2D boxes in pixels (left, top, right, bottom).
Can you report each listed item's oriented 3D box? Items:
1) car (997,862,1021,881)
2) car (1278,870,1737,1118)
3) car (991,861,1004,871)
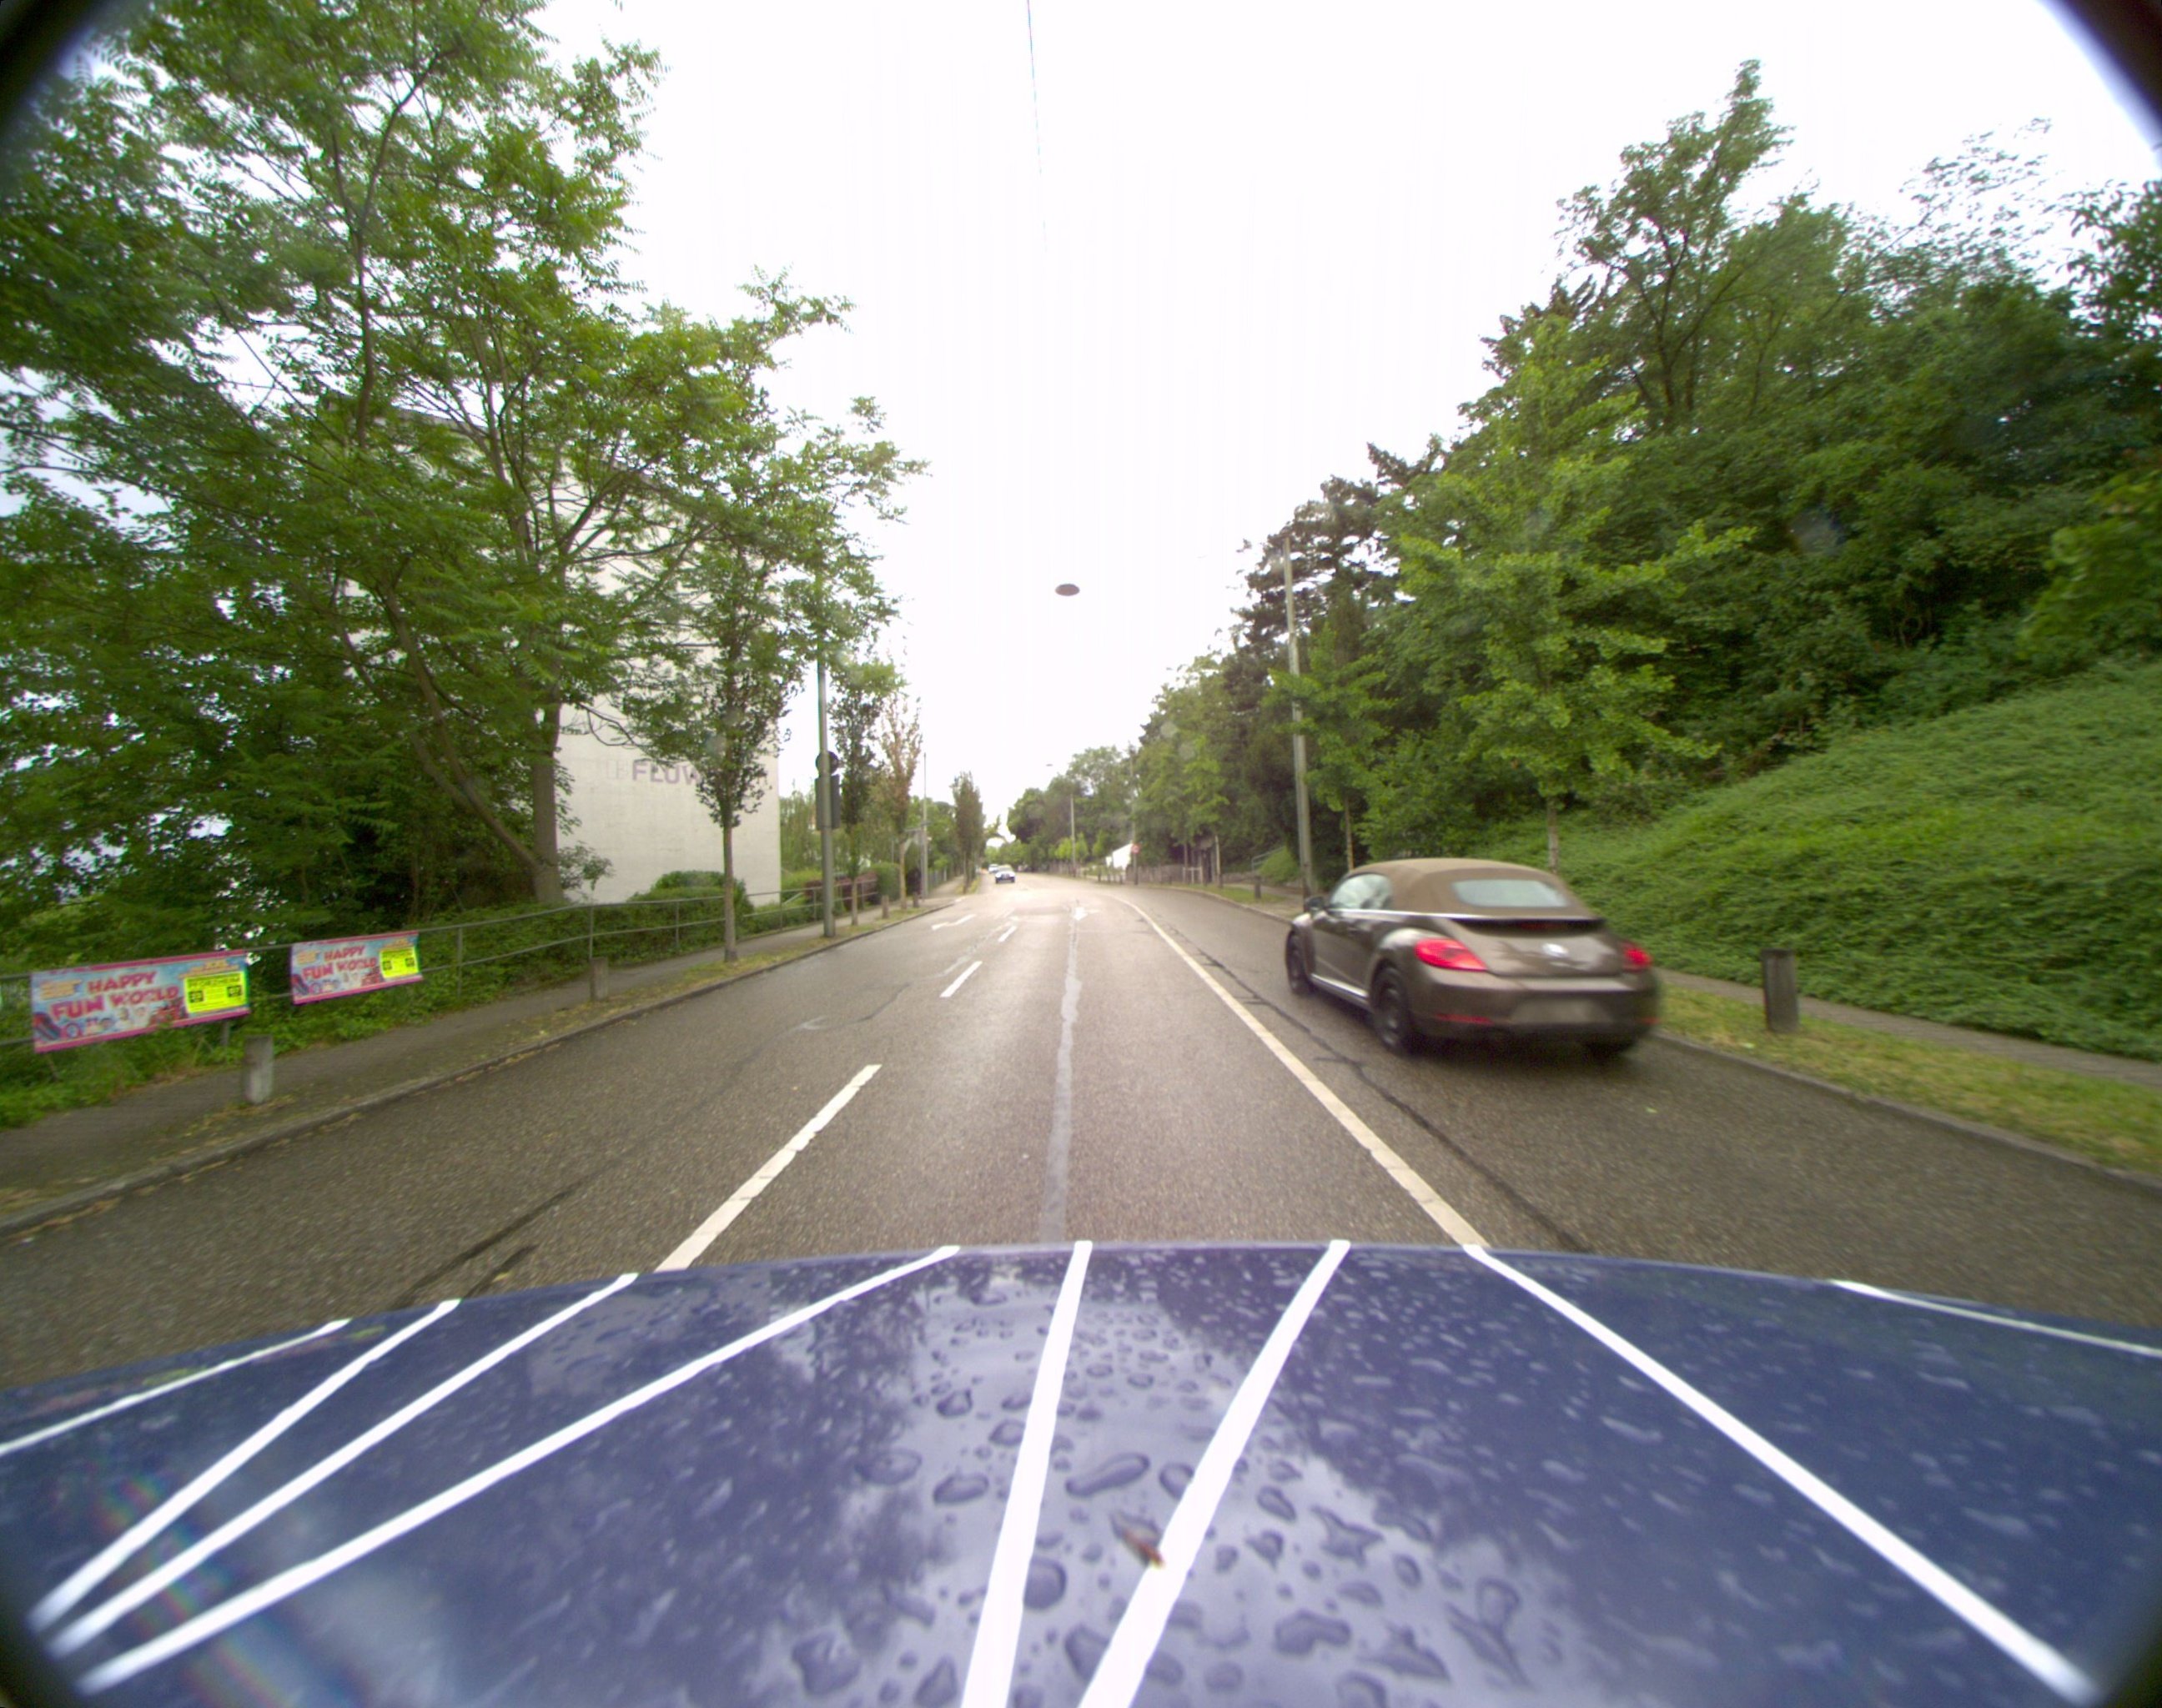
[{"bbox_3d":[-7.032,1.701,74.660,1.834,1.608,4.292,-2,1,0],"label":"car"},{"bbox_3d":[3.134,0.906,6.664,1.782,1.440,4.000,0,0,0],"label":"car"},{"bbox_3d":[-14.967,2.160,136.698,1.834,1.608,4.350,-2,1,-1],"label":"car"}]
